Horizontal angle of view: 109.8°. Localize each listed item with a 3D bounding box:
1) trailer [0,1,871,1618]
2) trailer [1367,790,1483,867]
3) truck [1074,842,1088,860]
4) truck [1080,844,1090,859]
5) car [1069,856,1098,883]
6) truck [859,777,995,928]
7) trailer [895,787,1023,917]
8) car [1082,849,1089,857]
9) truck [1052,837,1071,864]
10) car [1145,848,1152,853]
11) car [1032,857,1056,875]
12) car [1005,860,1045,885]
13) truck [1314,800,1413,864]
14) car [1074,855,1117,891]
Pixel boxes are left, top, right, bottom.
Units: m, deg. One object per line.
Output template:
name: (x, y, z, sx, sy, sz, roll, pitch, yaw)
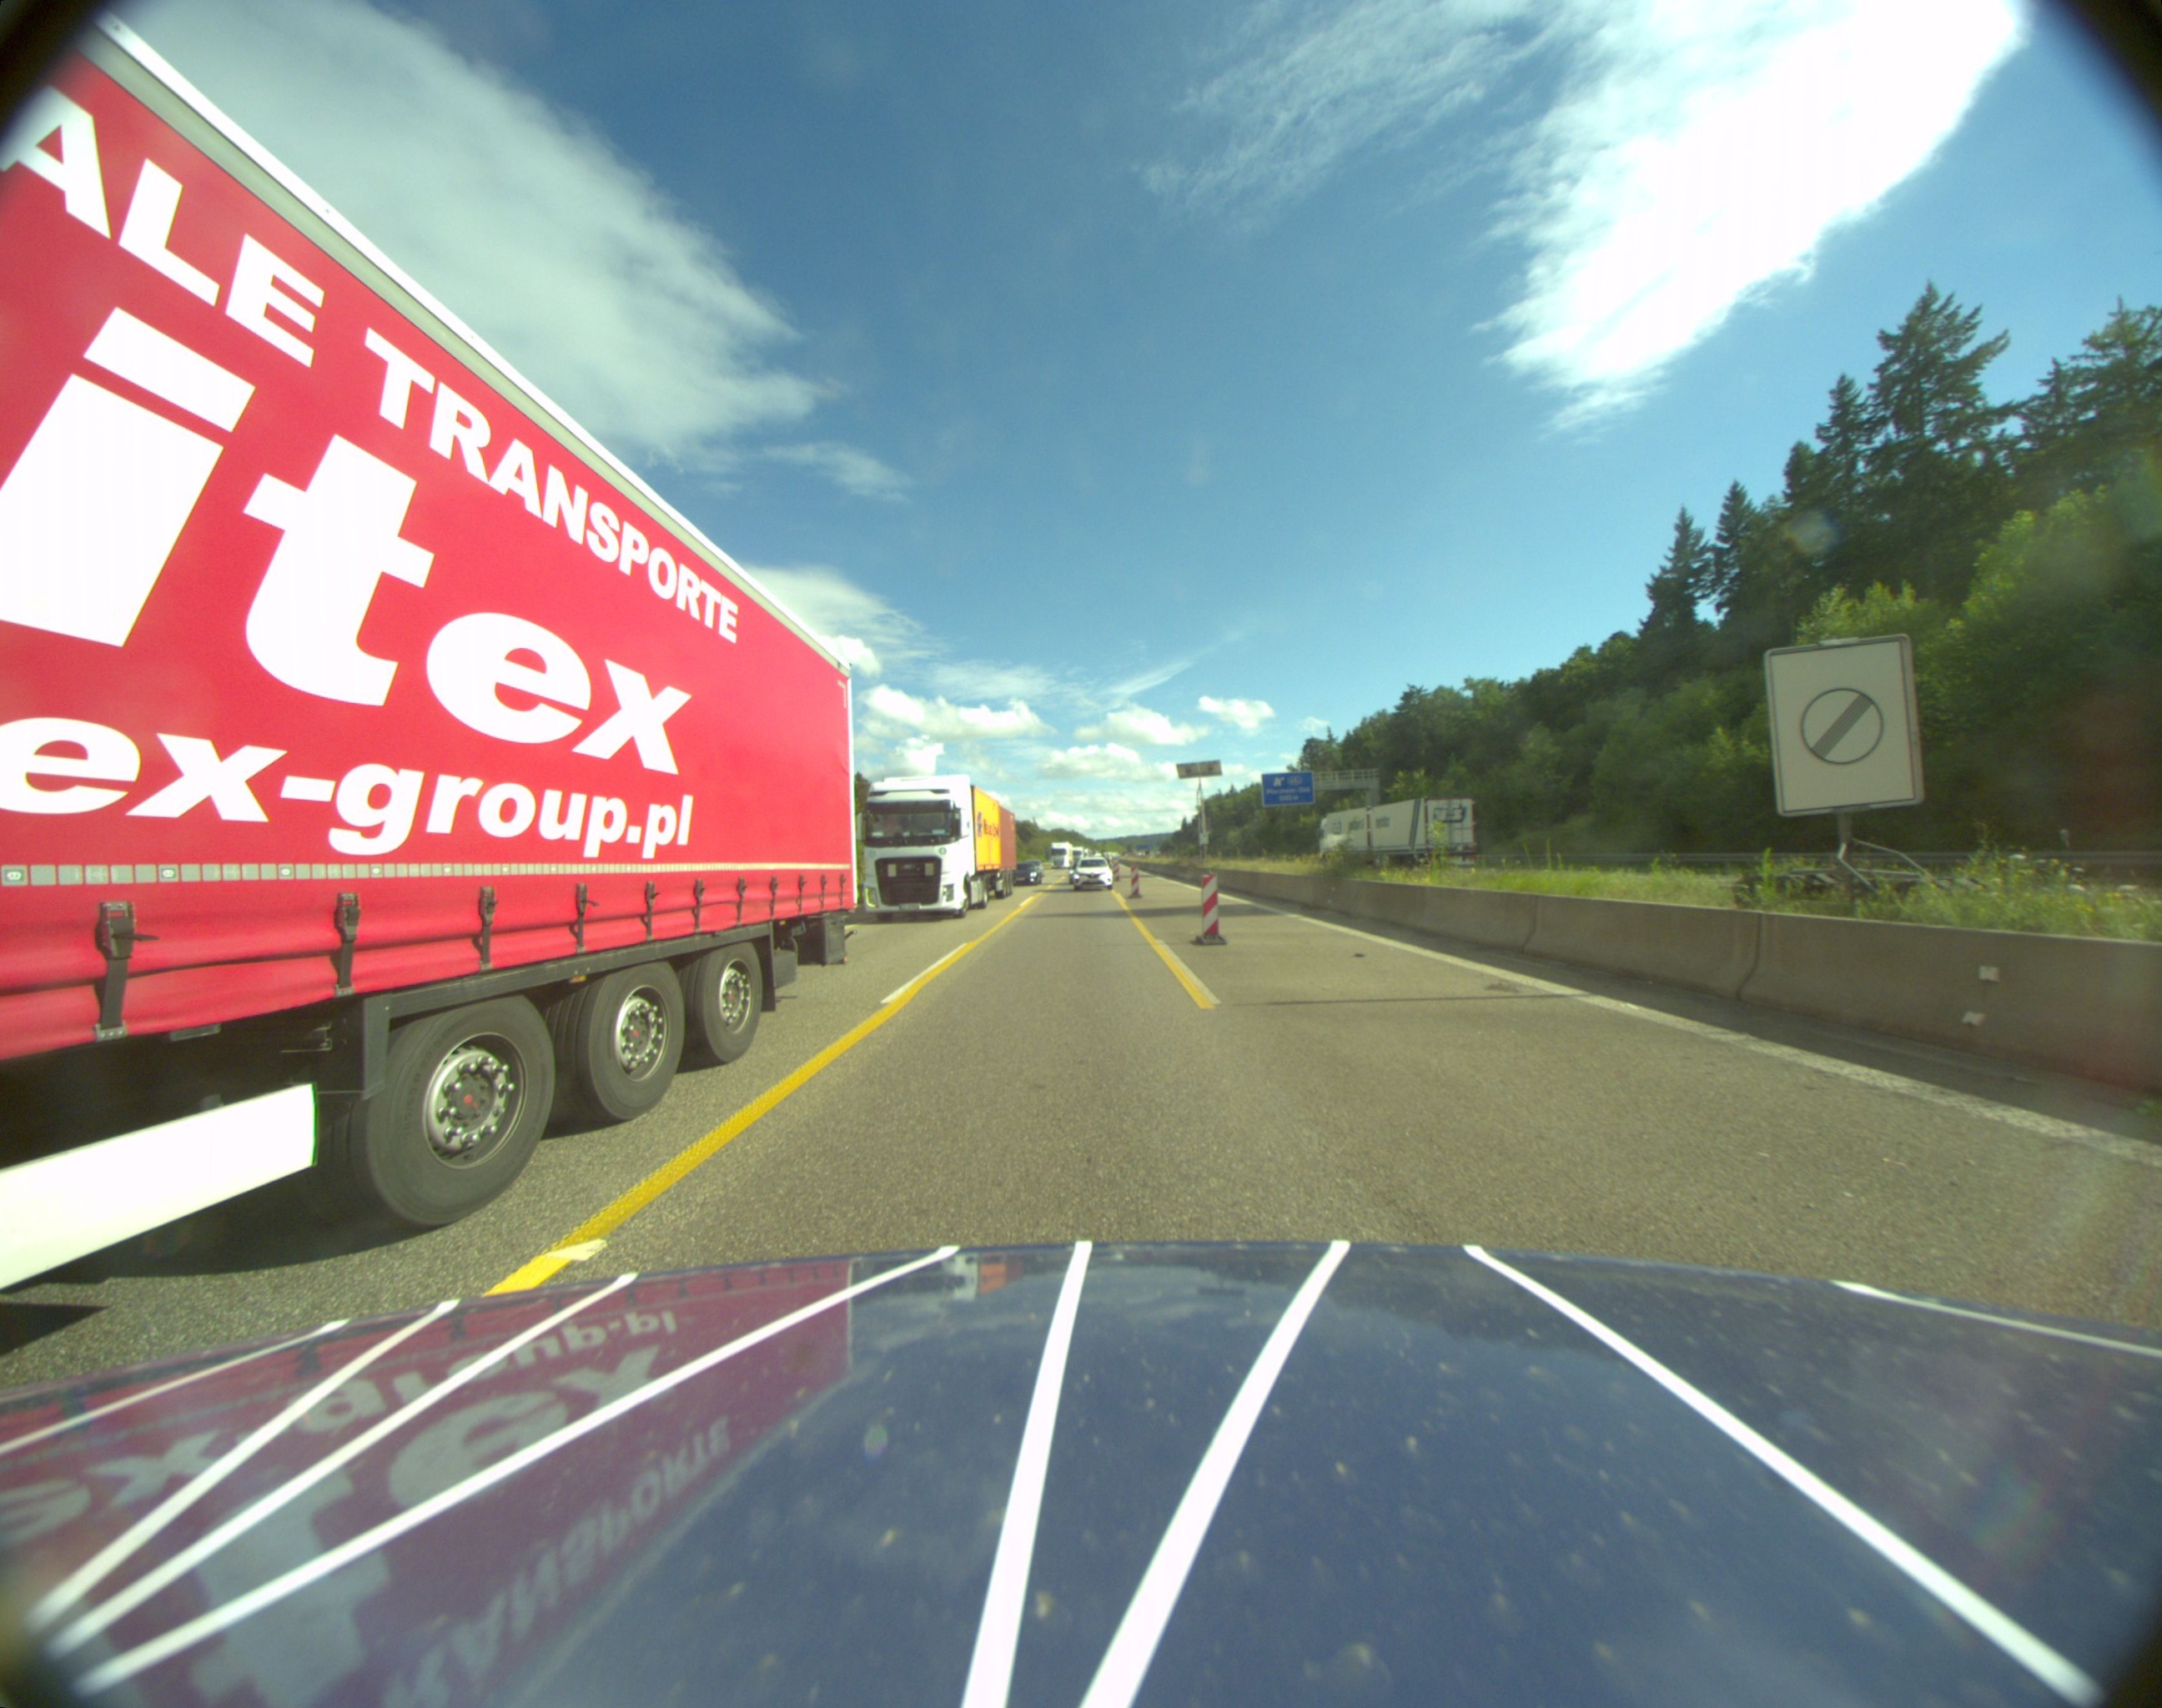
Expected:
trailer: (-3.984, -0.117, 2.505, 2.707, 3.946, 13.415, -2, 0, 0)
trailer: (19.362, -1.350, 43.472, 2.798, 3.900, 8.487, -2, 1, 0)
truck: (-0.001, -0.713, 176.469, 2.640, 4.092, 8.197, -2, 0, 3)
truck: (1.176, -0.704, 211.138, 2.641, 4.092, 8.195, -3, 0, 1)
car: (0.175, 0.918, 46.666, 1.692, 1.471, 3.754, -2, 1, 1)
truck: (-4.252, -0.048, 22.241, 2.501, 3.759, 5.790, -2, 1, 1)
trailer: (-4.102, -0.084, 28.682, 2.477, 3.753, 12.136, -2, 0, 1)
car: (1.338, -0.302, 213.682, 1.998, 2.188, 3.999, -2, 1, 1)
truck: (-3.046, -0.571, 120.059, 2.641, 4.092, 8.194, -2, 0, -1)
car: (22.151, -1.129, 249.933, 1.665, 1.572, 3.911, -2, 1, 0)
car: (-3.154, 1.014, 65.500, 1.762, 1.471, 3.967, -2, 1, 1)
car: (-3.362, 1.078, 46.404, 1.933, 1.342, 4.477, -2, 0, 1)
truck: (19.415, -1.439, 53.176, 2.789, 3.962, 10.860, -2, 1, 0)
car: (0.636, 0.852, 36.270, 1.840, 1.528, 3.882, -2, 1, -1)
